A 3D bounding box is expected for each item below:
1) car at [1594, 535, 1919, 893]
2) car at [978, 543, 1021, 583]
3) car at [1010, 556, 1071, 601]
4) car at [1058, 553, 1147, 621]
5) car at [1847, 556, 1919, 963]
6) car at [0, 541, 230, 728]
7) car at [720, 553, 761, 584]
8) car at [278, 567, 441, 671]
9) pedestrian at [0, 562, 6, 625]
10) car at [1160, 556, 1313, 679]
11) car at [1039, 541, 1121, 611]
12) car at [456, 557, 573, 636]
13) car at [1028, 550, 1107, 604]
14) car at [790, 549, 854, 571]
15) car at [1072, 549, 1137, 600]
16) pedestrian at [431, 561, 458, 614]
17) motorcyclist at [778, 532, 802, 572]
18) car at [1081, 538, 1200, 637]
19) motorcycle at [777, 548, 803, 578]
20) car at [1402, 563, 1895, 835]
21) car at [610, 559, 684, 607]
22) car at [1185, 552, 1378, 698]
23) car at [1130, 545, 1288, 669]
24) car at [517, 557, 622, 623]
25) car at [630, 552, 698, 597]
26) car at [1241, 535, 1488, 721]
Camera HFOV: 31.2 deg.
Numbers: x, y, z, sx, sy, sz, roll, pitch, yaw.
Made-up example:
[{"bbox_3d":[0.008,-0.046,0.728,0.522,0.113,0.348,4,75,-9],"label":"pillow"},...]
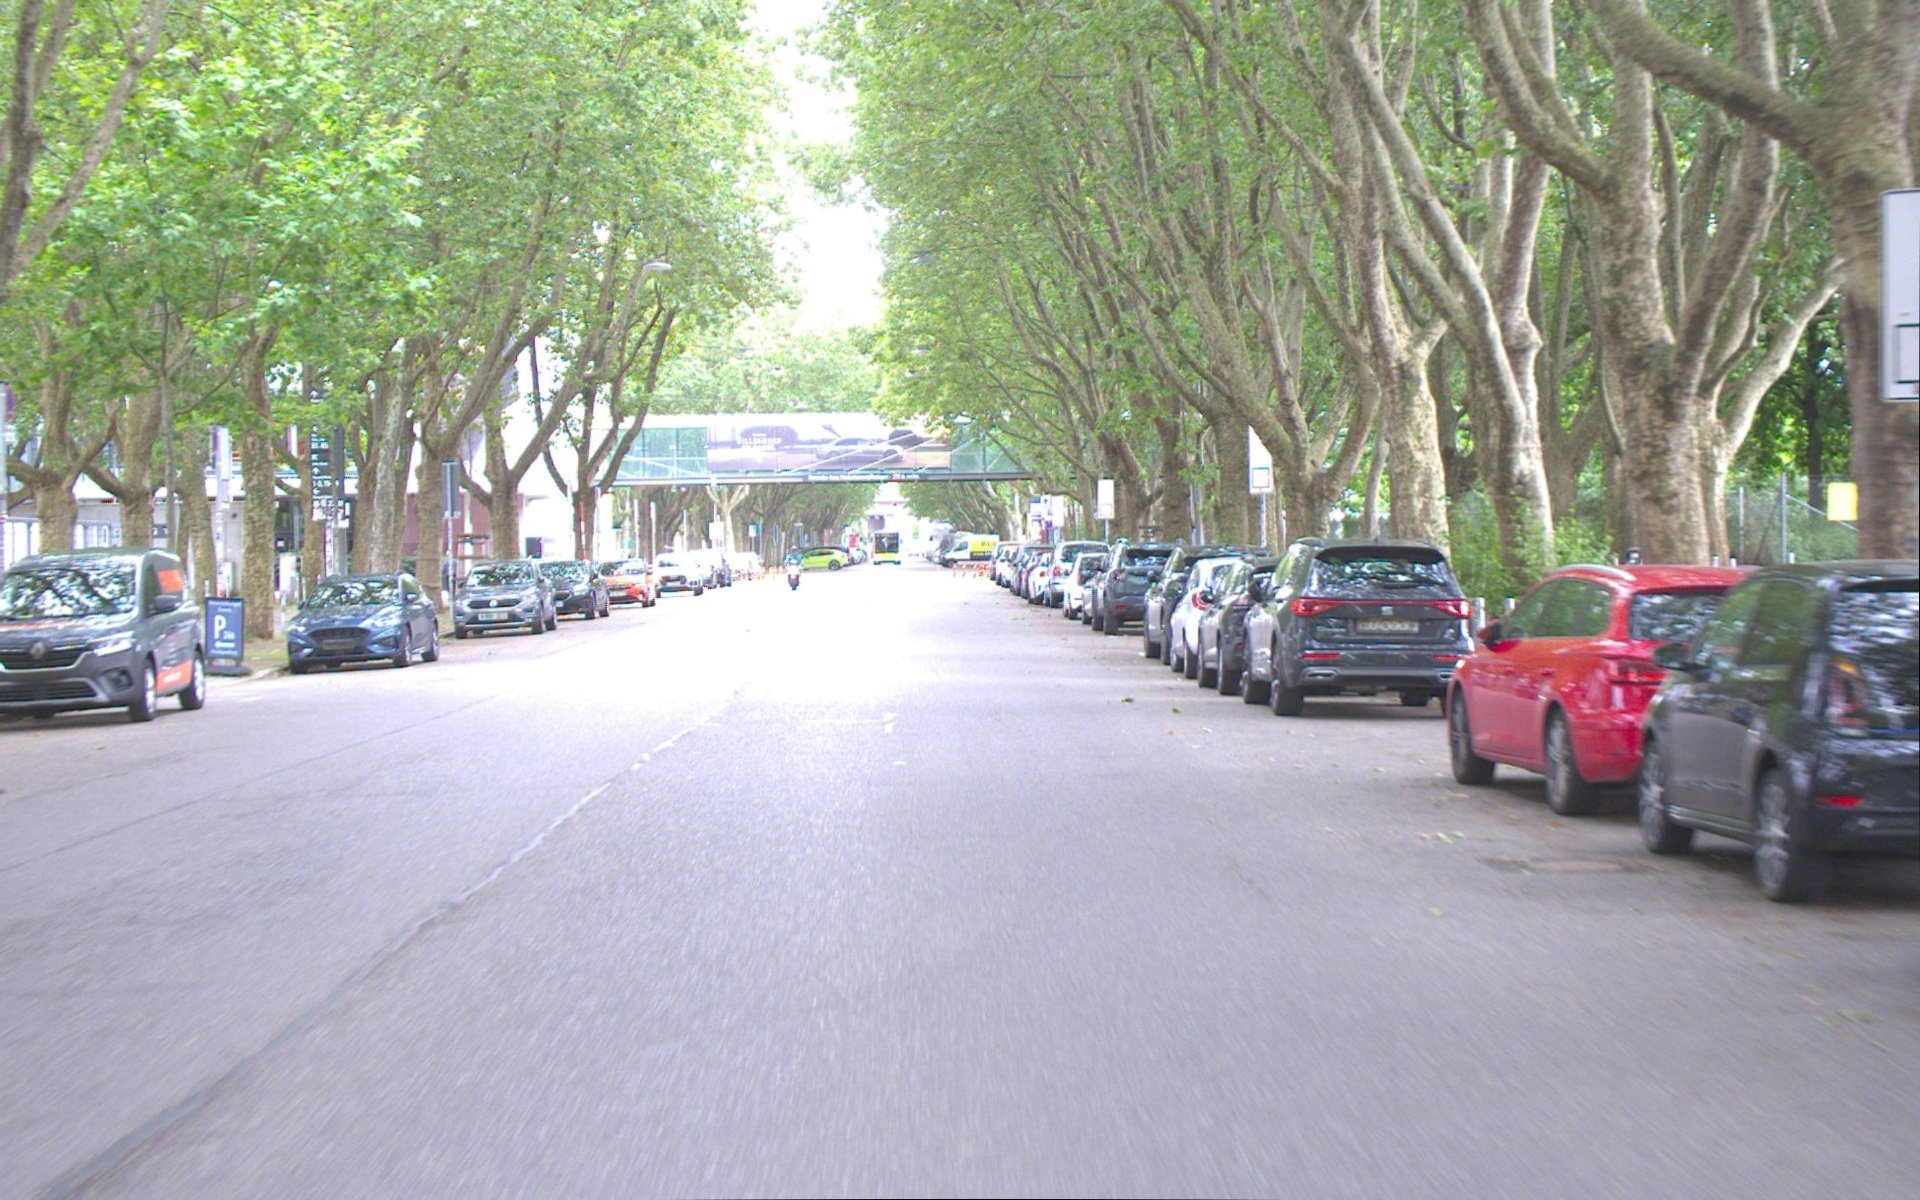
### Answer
[{"bbox_3d":[4.252,0.461,16.244,1.730,1.465,4.080,2,1,0],"label":"car"},{"bbox_3d":[1.794,-1.704,158.120,1.847,1.777,5.211,1,0,-1],"label":"car"},{"bbox_3d":[2.609,-0.712,112.269,1.877,1.422,4.480,-1,1,0],"label":"car"},{"bbox_3d":[3.084,-0.303,74.958,1.707,1.422,3.889,1,1,-1],"label":"car"},{"bbox_3d":[4.303,0.574,10.937,1.735,1.433,4.123,-1,1,-2],"label":"car"},{"bbox_3d":[-9.007,0.319,35.560,1.949,1.744,4.639,-2,1,-1],"label":"car"},{"bbox_3d":[-11.651,-1.678,182.459,1.993,1.596,4.001,0,1,-6],"label":"car"},{"bbox_3d":[-9.198,0.253,52.972,1.724,1.481,4.575,-1,1,-1],"label":"car"},{"bbox_3d":[-24.134,-0.162,85.437,0.667,1.538,0.660,0,0,0],"label":"pedestrian"},{"bbox_3d":[3.451,0.188,43.441,1.616,1.436,3.710,1,1,0],"label":"car"},{"bbox_3d":[3.062,-0.629,88.572,1.903,1.733,4.507,0,1,-1],"label":"car"},{"bbox_3d":[-9.179,-0.092,71.120,1.878,1.521,4.151,-2,1,0],"label":"car"},{"bbox_3d":[2.919,-0.652,94.247,1.877,1.422,4.586,-1,1,-1],"label":"car"},{"bbox_3d":[-10.358,-2.974,258.295,4.700,1.579,1.864,-1,0,1],"label":"car"},{"bbox_3d":[4.651,-0.842,111.090,1.802,1.550,4.000,-1,1,-1],"label":"car"},{"bbox_3d":[-15.795,-0.375,105.355,0.592,1.614,0.791,0,0,9],"label":"pedestrian"},{"bbox_3d":[-6.353,-1.787,128.399,0.870,1.475,1.265,-1,1,-4],"label":"motorcyclist"},{"bbox_3d":[3.216,-0.244,62.105,1.707,1.692,4.631,1,1,-2],"label":"car"},{"bbox_3d":[-6.353,-1.377,128.364,0.873,1.075,3.053,-1,1,-4],"label":"motorcycle"},{"bbox_3d":[4.058,0.517,21.051,1.716,1.433,4.630,1,1,-5],"label":"car"},{"bbox_3d":[-9.134,-0.508,100.587,1.808,1.349,4.000,-1,1,0],"label":"car"},{"bbox_3d":[3.503,0.233,38.135,1.668,1.504,4.354,1,1,-1],"label":"car"},{"bbox_3d":[3.502,0.068,49.147,1.777,1.667,4.638,-1,1,-2],"label":"car"},{"bbox_3d":[-9.334,-0.261,82.540,1.827,1.460,4.627,-2,1,2],"label":"car"},{"bbox_3d":[-10.746,-0.948,124.925,2.073,1.557,4.756,-1,1,0],"label":"car"},{"bbox_3d":[3.757,0.221,32.635,1.755,1.614,4.439,1,1,-1],"label":"car"}]
